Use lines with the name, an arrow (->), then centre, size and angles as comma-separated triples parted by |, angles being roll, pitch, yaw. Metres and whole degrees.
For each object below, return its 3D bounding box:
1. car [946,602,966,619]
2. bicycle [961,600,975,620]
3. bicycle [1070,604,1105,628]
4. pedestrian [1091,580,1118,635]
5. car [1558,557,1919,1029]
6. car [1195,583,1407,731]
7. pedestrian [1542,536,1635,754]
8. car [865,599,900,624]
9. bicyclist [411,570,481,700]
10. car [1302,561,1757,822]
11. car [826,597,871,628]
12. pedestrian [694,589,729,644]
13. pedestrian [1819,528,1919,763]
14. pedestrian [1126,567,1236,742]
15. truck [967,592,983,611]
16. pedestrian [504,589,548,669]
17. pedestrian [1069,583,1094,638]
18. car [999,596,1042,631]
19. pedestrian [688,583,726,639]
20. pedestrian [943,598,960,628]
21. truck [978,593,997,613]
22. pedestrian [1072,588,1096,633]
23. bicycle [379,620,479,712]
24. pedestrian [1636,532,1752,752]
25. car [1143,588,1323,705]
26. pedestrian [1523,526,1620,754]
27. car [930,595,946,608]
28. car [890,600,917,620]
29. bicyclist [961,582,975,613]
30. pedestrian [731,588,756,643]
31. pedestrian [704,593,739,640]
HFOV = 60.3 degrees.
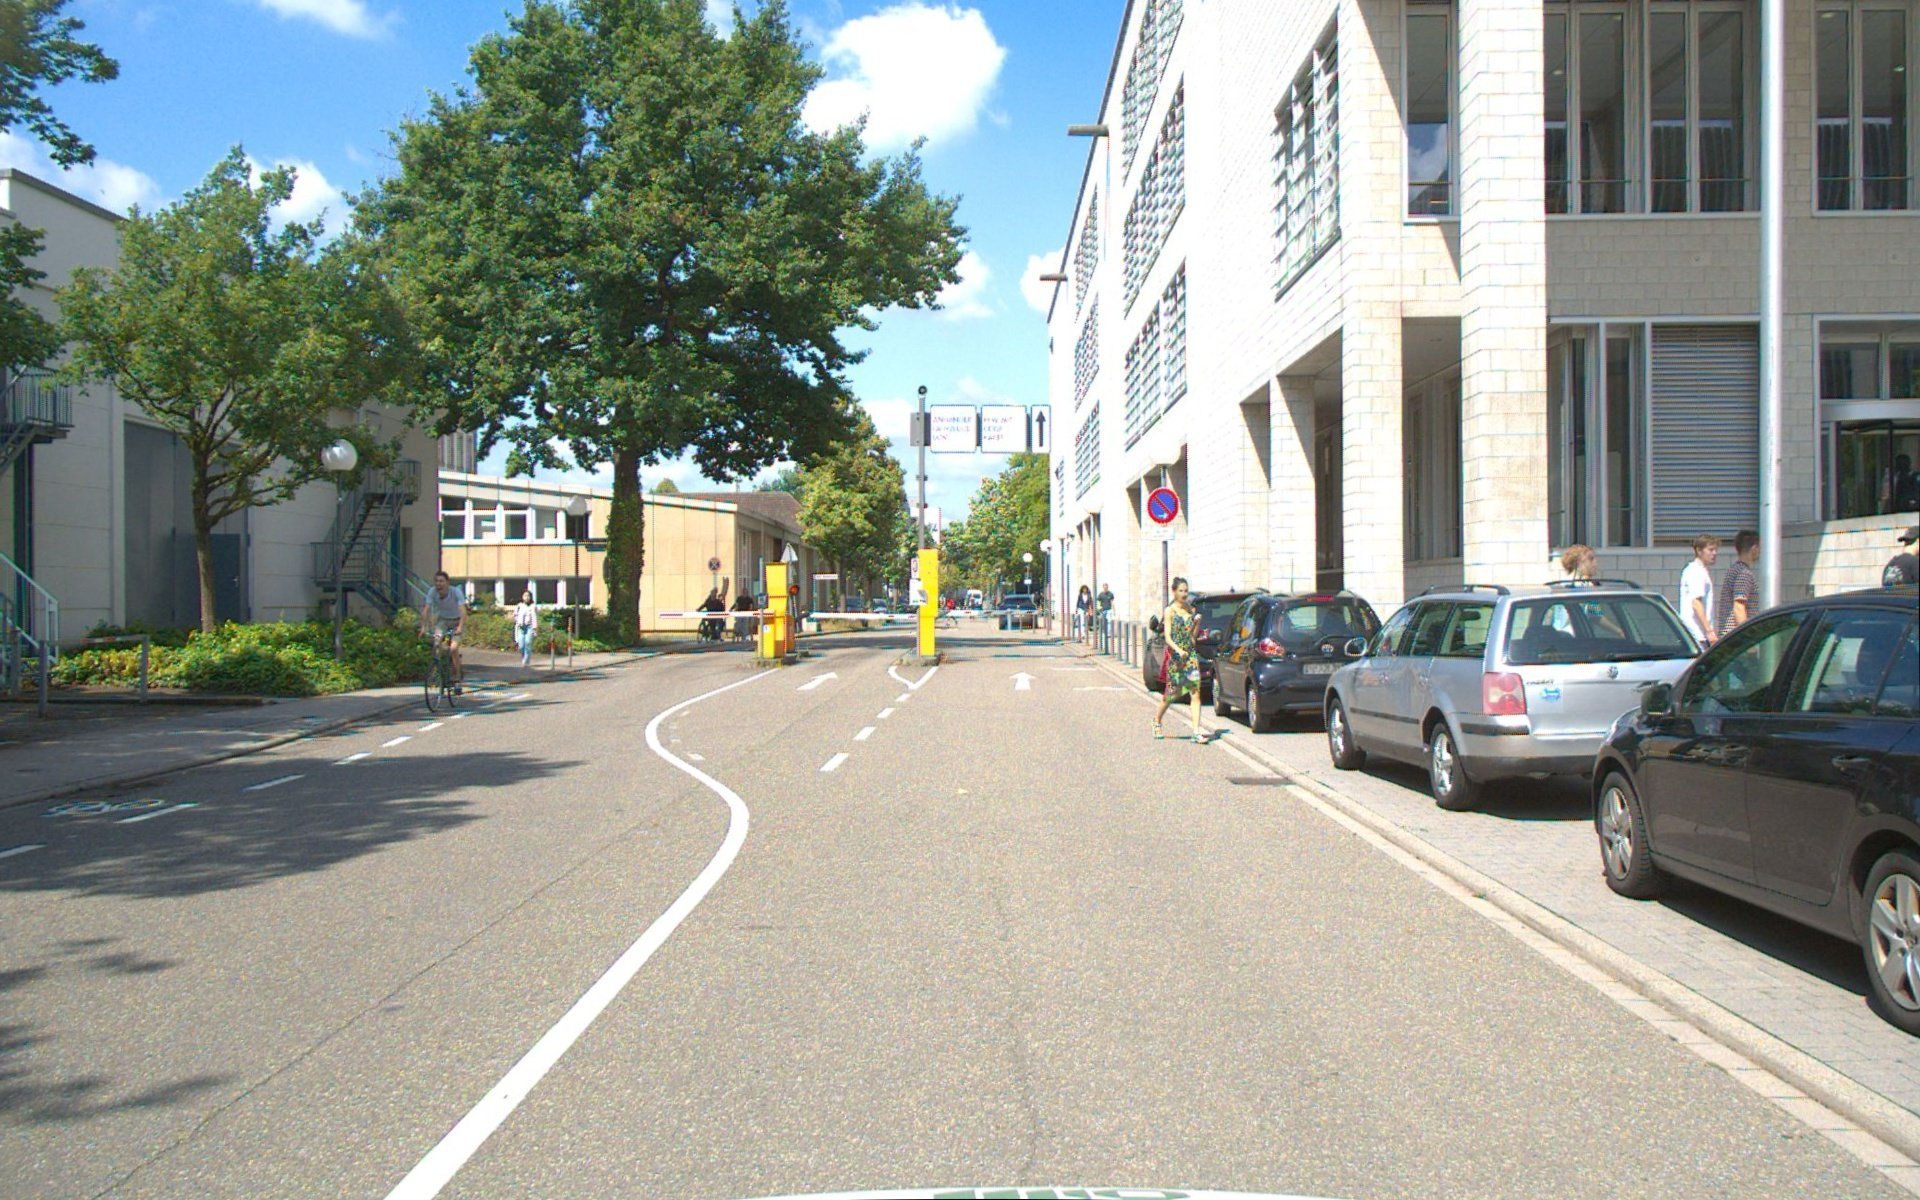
car -> -0.434, 1.170, 185.235 | 1.952, 1.751, 4.001 | -1, -2, 3
bicycle -> 0.597, 0.754, 118.790 | 0.967, 1.339, 2.963 | -1, -2, 0
bicycle -> 5.776, 0.729, 74.904 | 1.511, 1.085, 0.648 | -1, 0, 8
pedestrian -> 4.886, 0.250, 56.042 | 0.751, 1.811, 0.910 | -2, 0, -1
car -> 4.001, 0.602, 6.732 | 1.684, 1.556, 4.000 | -3, 0, 1
car -> 3.829, 0.594, 19.203 | 1.581, 1.523, 4.005 | 0, 0, -1
pedestrian -> 5.831, 0.408, 15.336 | 0.766, 1.959, 0.734 | -1, 0, 23
car -> -4.992, 0.747, 107.220 | 1.952, 1.573, 4.212 | 0, 0, 1
bicyclist -> -7.135, 0.478, 22.988 | 0.678, 1.767, 0.918 | -1, -1, 0
car -> 4.036, 0.570, 12.617 | 1.685, 1.556, 4.564 | -2, 0, -3
car -> -5.732, 0.617, 85.272 | 1.952, 1.573, 4.212 | 0, 0, 1
pedestrian -> -8.435, 0.543, 56.217 | 1.034, 1.847, 0.806 | -1, 0, -1
pedestrian -> 8.200, 0.373, 14.244 | 1.072, 1.953, 1.021 | 0, 0, 1
pedestrian -> 2.287, 0.546, 17.189 | 0.616, 1.747, 1.029 | -1, 0, -32
truck -> 1.888, 0.212, 213.226 | 1.953, 2.311, 4.614 | -1, -2, -1
pedestrian -> -9.117, 0.602, 34.754 | 0.698, 1.655, 0.883 | 0, 0, -1
pedestrian -> 4.115, 0.352, 55.910 | 0.680, 1.811, 1.085 | -2, 0, -1
car -> 2.815, 0.632, 77.913 | 1.952, 1.573, 4.212 | -1, 0, 1
pedestrian -> -8.902, 0.395, 58.221 | 0.867, 1.959, 1.005 | 0, -1, 27
pedestrian -> -0.473, 0.707, 91.833 | 0.876, 1.661, 0.887 | 0, -1, -2
truck -> 3.033, 0.334, 182.980 | 1.953, 2.049, 3.998 | -1, -2, -1
pedestrian -> 4.606, 0.387, 61.480 | 0.726, 1.661, 0.887 | -2, 0, -1
bicycle -> -7.323, 0.878, 22.926 | 0.678, 1.191, 2.209 | -1, 0, 0
pedestrian -> 6.718, 0.377, 15.169 | 0.709, 1.959, 0.751 | 0, 0, 0
car -> 3.770, 0.605, 23.584 | 1.828, 1.490, 4.520 | 0, 0, 0
pedestrian -> 5.427, 0.348, 14.663 | 0.767, 1.959, 0.593 | -1, 0, 23
car -> -3.184, 0.207, 239.876 | 1.952, 1.751, 4.001 | -1, -2, 3
car -> -4.588, 0.785, 135.358 | 1.952, 1.573, 4.212 | 0, 0, 1
bicyclist -> 0.579, -0.171, 118.884 | 0.967, 2.169, 1.036 | -1, -2, 0
pedestrian -> -7.325, 0.508, 55.979 | 0.691, 1.841, 1.001 | -1, 0, -1
pedestrian -> -8.529, 0.601, 59.165 | 0.867, 1.661, 0.895 | 0, -1, 27
